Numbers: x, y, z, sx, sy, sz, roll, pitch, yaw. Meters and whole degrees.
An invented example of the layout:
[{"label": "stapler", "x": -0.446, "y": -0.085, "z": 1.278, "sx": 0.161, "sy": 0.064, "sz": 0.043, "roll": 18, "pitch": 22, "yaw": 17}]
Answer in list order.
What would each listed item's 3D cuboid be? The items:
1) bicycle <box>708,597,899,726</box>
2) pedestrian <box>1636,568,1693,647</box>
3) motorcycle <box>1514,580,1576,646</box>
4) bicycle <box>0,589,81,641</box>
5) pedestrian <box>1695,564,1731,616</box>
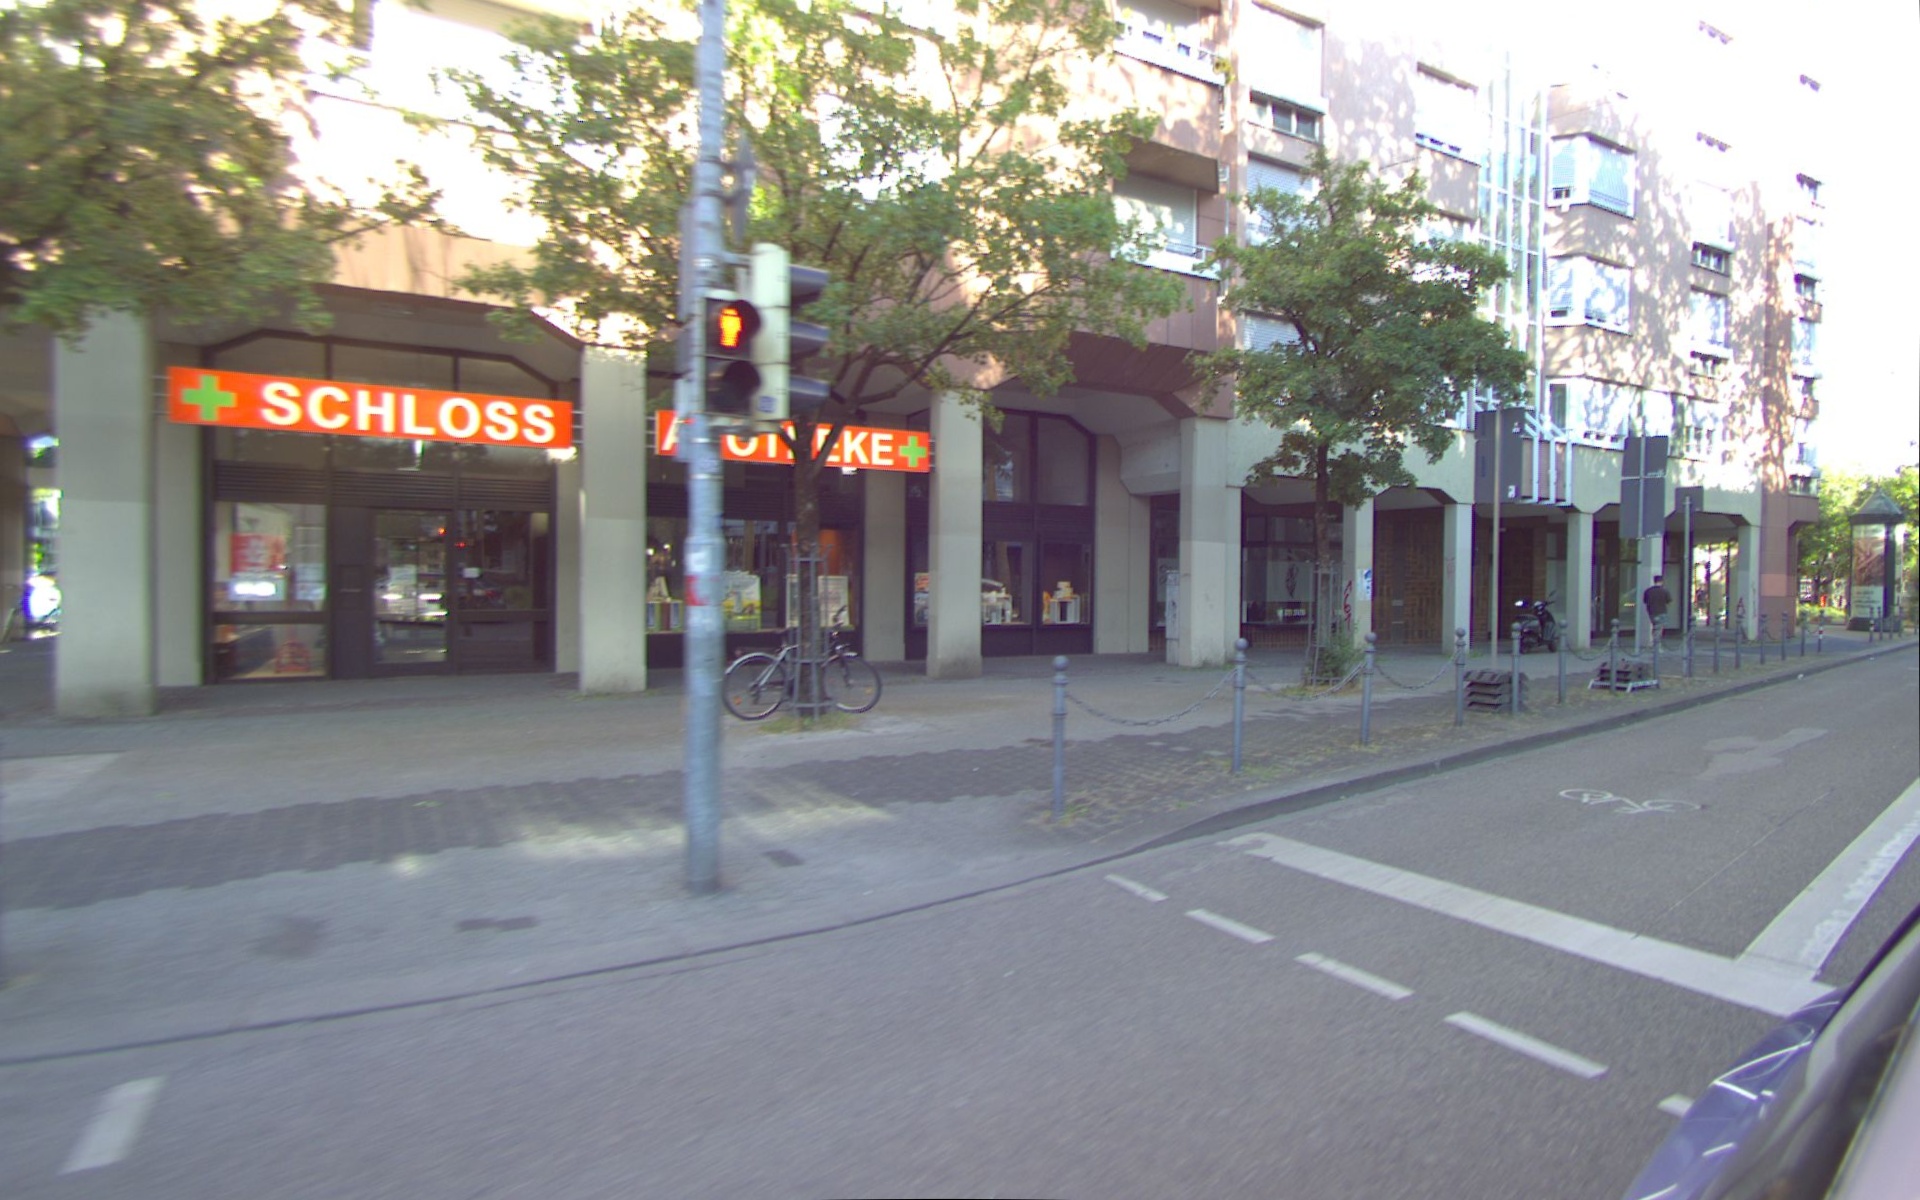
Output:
[{"label": "bicycle", "x": -1.636, "y": 0.602, "z": 10.648, "sx": 1.887, "sy": 1.241, "sz": 0.625, "roll": 0, "pitch": 1, "yaw": -27}, {"label": "pedestrian", "x": 16.095, "y": 0.147, "z": 23.134, "sx": 0.820, "sy": 1.760, "sz": 0.784, "roll": 0, "pitch": 1, "yaw": -31}, {"label": "motorcycle", "x": 12.827, "y": 0.267, "z": 22.165, "sx": 2.053, "sy": 1.389, "sz": 0.489, "roll": -1, "pitch": 1, "yaw": -40}, {"label": "bicycle", "x": -19.419, "y": 0.296, "z": 21.359, "sx": 0.600, "sy": 1.032, "sz": 1.318, "roll": 0, "pitch": 1, "yaw": -1}, {"label": "pedestrian", "x": 29.027, "y": -0.389, "z": 39.032, "sx": 0.836, "sy": 2.006, "sz": 0.815, "roll": 0, "pitch": 1, "yaw": 14}]
